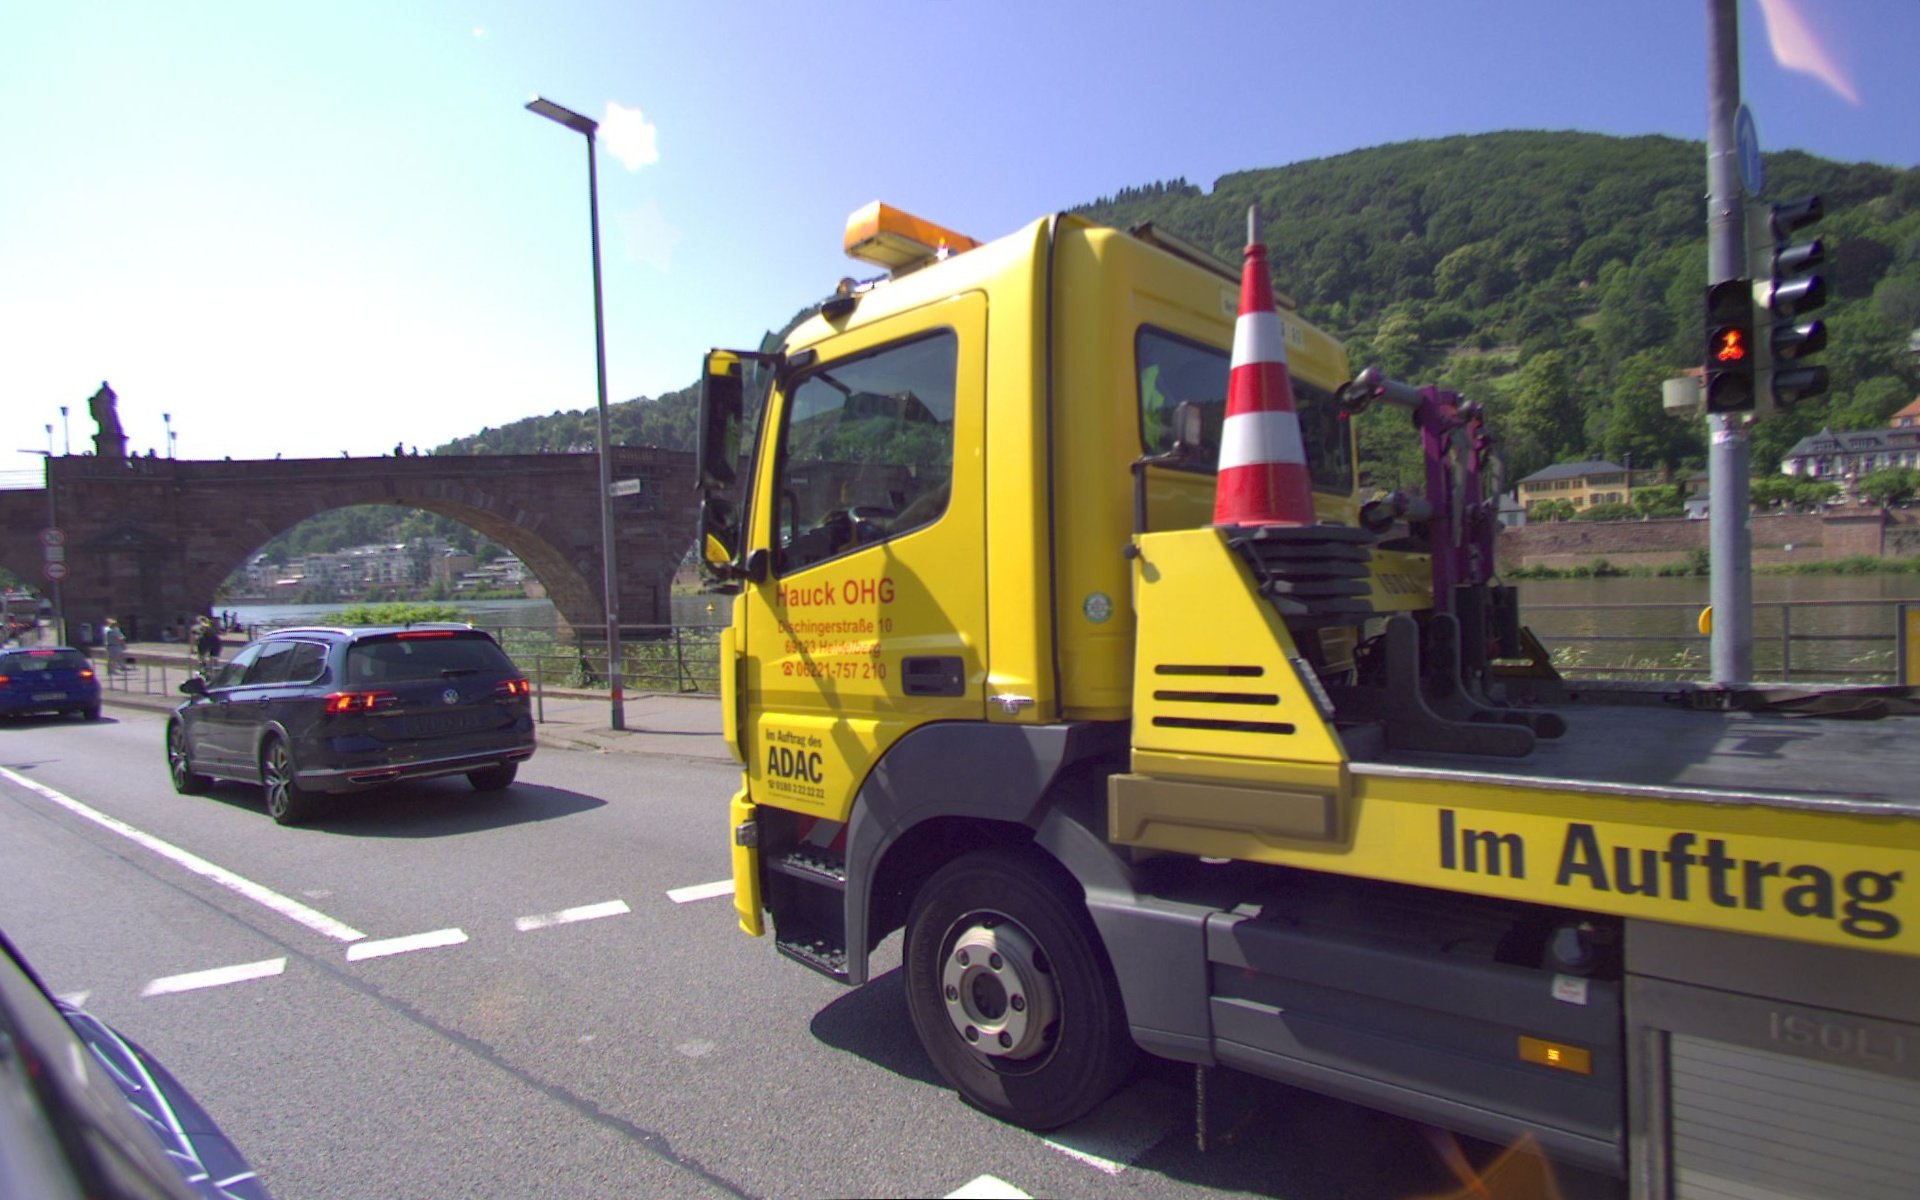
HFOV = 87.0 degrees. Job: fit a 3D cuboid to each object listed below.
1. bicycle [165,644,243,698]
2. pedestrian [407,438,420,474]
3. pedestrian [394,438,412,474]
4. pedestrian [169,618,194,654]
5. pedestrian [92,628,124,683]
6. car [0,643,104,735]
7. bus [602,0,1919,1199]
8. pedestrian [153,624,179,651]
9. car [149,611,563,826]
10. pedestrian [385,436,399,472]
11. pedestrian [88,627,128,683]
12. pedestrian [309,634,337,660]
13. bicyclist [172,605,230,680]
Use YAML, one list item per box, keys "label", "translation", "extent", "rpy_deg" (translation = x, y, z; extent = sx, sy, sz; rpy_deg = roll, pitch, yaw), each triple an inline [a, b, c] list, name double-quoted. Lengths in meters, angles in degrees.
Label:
- label: "bicycle"
  translation: [-17.316, 1.619, 23.166]
  extent: [2.027, 1.121, 0.662]
  rpy_deg: [-2, 2, 32]
- label: "pedestrian"
  translation: [-32.889, -8.669, 60.941]
  extent: [0.639, 2.029, 0.461]
  rpy_deg: [0, 1, 41]
- label: "pedestrian"
  translation: [-33.280, -8.587, 60.470]
  extent: [0.625, 2.029, 0.686]
  rpy_deg: [0, 1, 40]
- label: "pedestrian"
  translation: [-37.957, 1.759, 49.324]
  extent: [0.774, 1.663, 0.779]
  rpy_deg: [-2, 1, 43]
- label: "pedestrian"
  translation: [-29.440, 1.908, 34.975]
  extent: [0.513, 1.806, 0.824]
  rpy_deg: [-3, 1, -19]
- label: "car"
  translation: [-18.231, 1.650, 19.603]
  extent: [4.320, 1.502, 1.712]
  rpy_deg: [-1, 0, 38]
- label: "bus"
  translation: [2.746, -0.195, 1.945]
  extent: [8.441, 2.918, 2.570]
  rpy_deg: [-3, -1, 41]
- label: "pedestrian"
  translation: [-38.921, 1.832, 49.617]
  extent: [1.026, 1.239, 0.779]
  rpy_deg: [-2, 1, 43]
- label: "car"
  translation: [-5.531, 0.897, 9.030]
  extent: [4.352, 1.417, 1.791]
  rpy_deg: [-3, 0, 39]
- label: "pedestrian"
  translation: [-33.671, -8.639, 59.983]
  extent: [0.639, 2.029, 0.461]
  rpy_deg: [0, 1, 41]
- label: "pedestrian"
  translation: [-27.515, 1.778, 32.698]
  extent: [0.538, 1.735, 0.755]
  rpy_deg: [-2, 1, 7]
- label: "pedestrian"
  translation: [-29.329, 2.163, 46.618]
  extent: [0.954, 1.139, 0.832]
  rpy_deg: [-2, 0, -41]
- label: "bicyclist"
  translation: [-17.368, 0.976, 23.161]
  extent: [0.976, 1.644, 0.662]
  rpy_deg: [-2, 2, 32]
